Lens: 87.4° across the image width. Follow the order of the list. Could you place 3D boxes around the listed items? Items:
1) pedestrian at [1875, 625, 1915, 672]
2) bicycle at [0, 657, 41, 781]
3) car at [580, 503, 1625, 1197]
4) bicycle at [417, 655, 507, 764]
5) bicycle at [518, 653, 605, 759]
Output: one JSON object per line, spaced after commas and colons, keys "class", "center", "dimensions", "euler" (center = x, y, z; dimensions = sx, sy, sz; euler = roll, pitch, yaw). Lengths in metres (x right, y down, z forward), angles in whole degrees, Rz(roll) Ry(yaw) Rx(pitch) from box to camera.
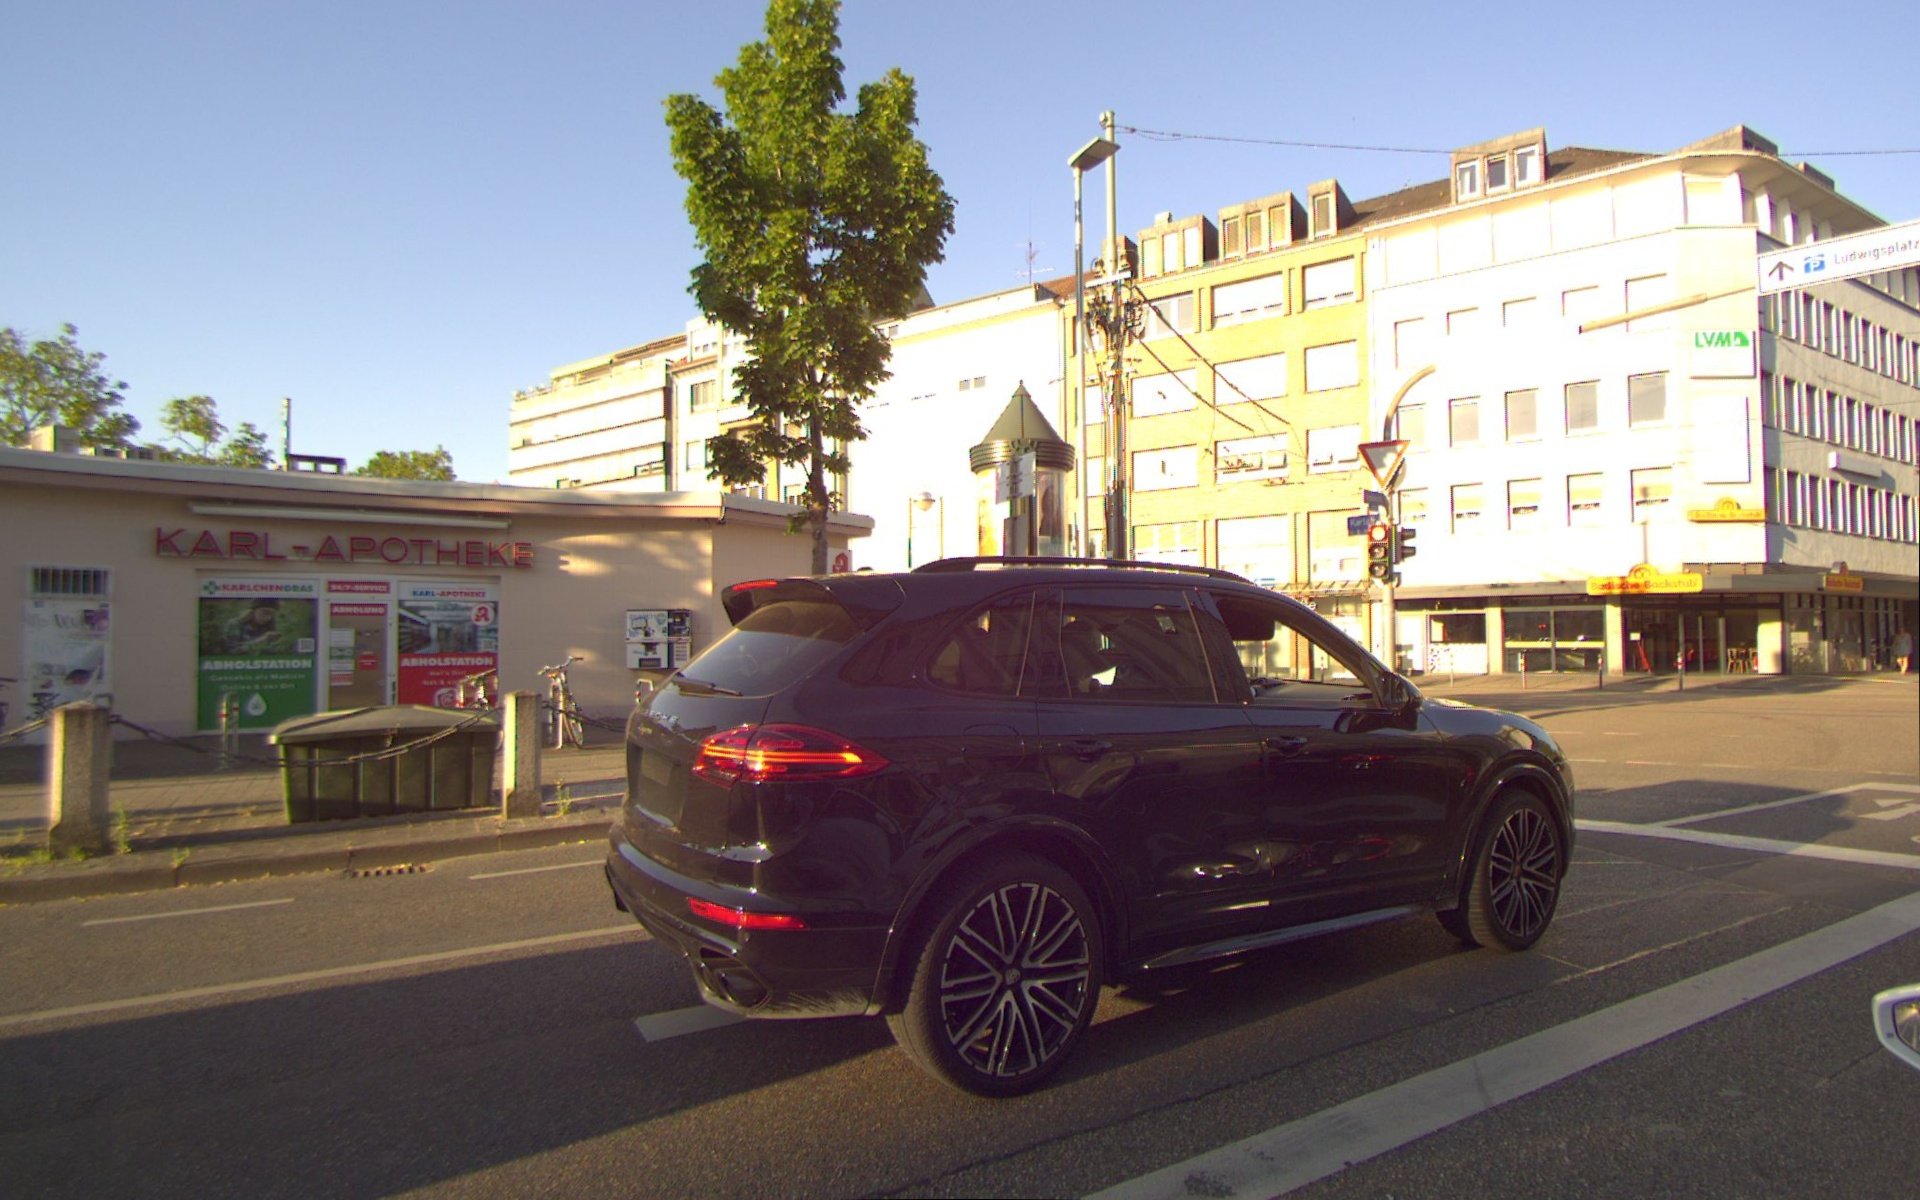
{"class": "pedestrian", "center": [34.046, 1.768, 36.574], "dimensions": [0.862, 1.698, 0.819], "euler": [1, -3, -32]}
{"class": "bicycle", "center": [-10.330, 1.241, 10.494], "dimensions": [0.625, 1.273, 1.846], "euler": [1, -3, -29]}
{"class": "car", "center": [0.821, 0.693, 4.566], "dimensions": [4.510, 1.736, 1.939], "euler": [1, -3, -32]}
{"class": "bicycle", "center": [-6.442, 1.349, 12.945], "dimensions": [0.938, 1.273, 1.997], "euler": [1, -3, -29]}
{"class": "bicycle", "center": [-5.388, 1.355, 13.485], "dimensions": [0.778, 1.273, 2.433], "euler": [1, -3, -29]}
